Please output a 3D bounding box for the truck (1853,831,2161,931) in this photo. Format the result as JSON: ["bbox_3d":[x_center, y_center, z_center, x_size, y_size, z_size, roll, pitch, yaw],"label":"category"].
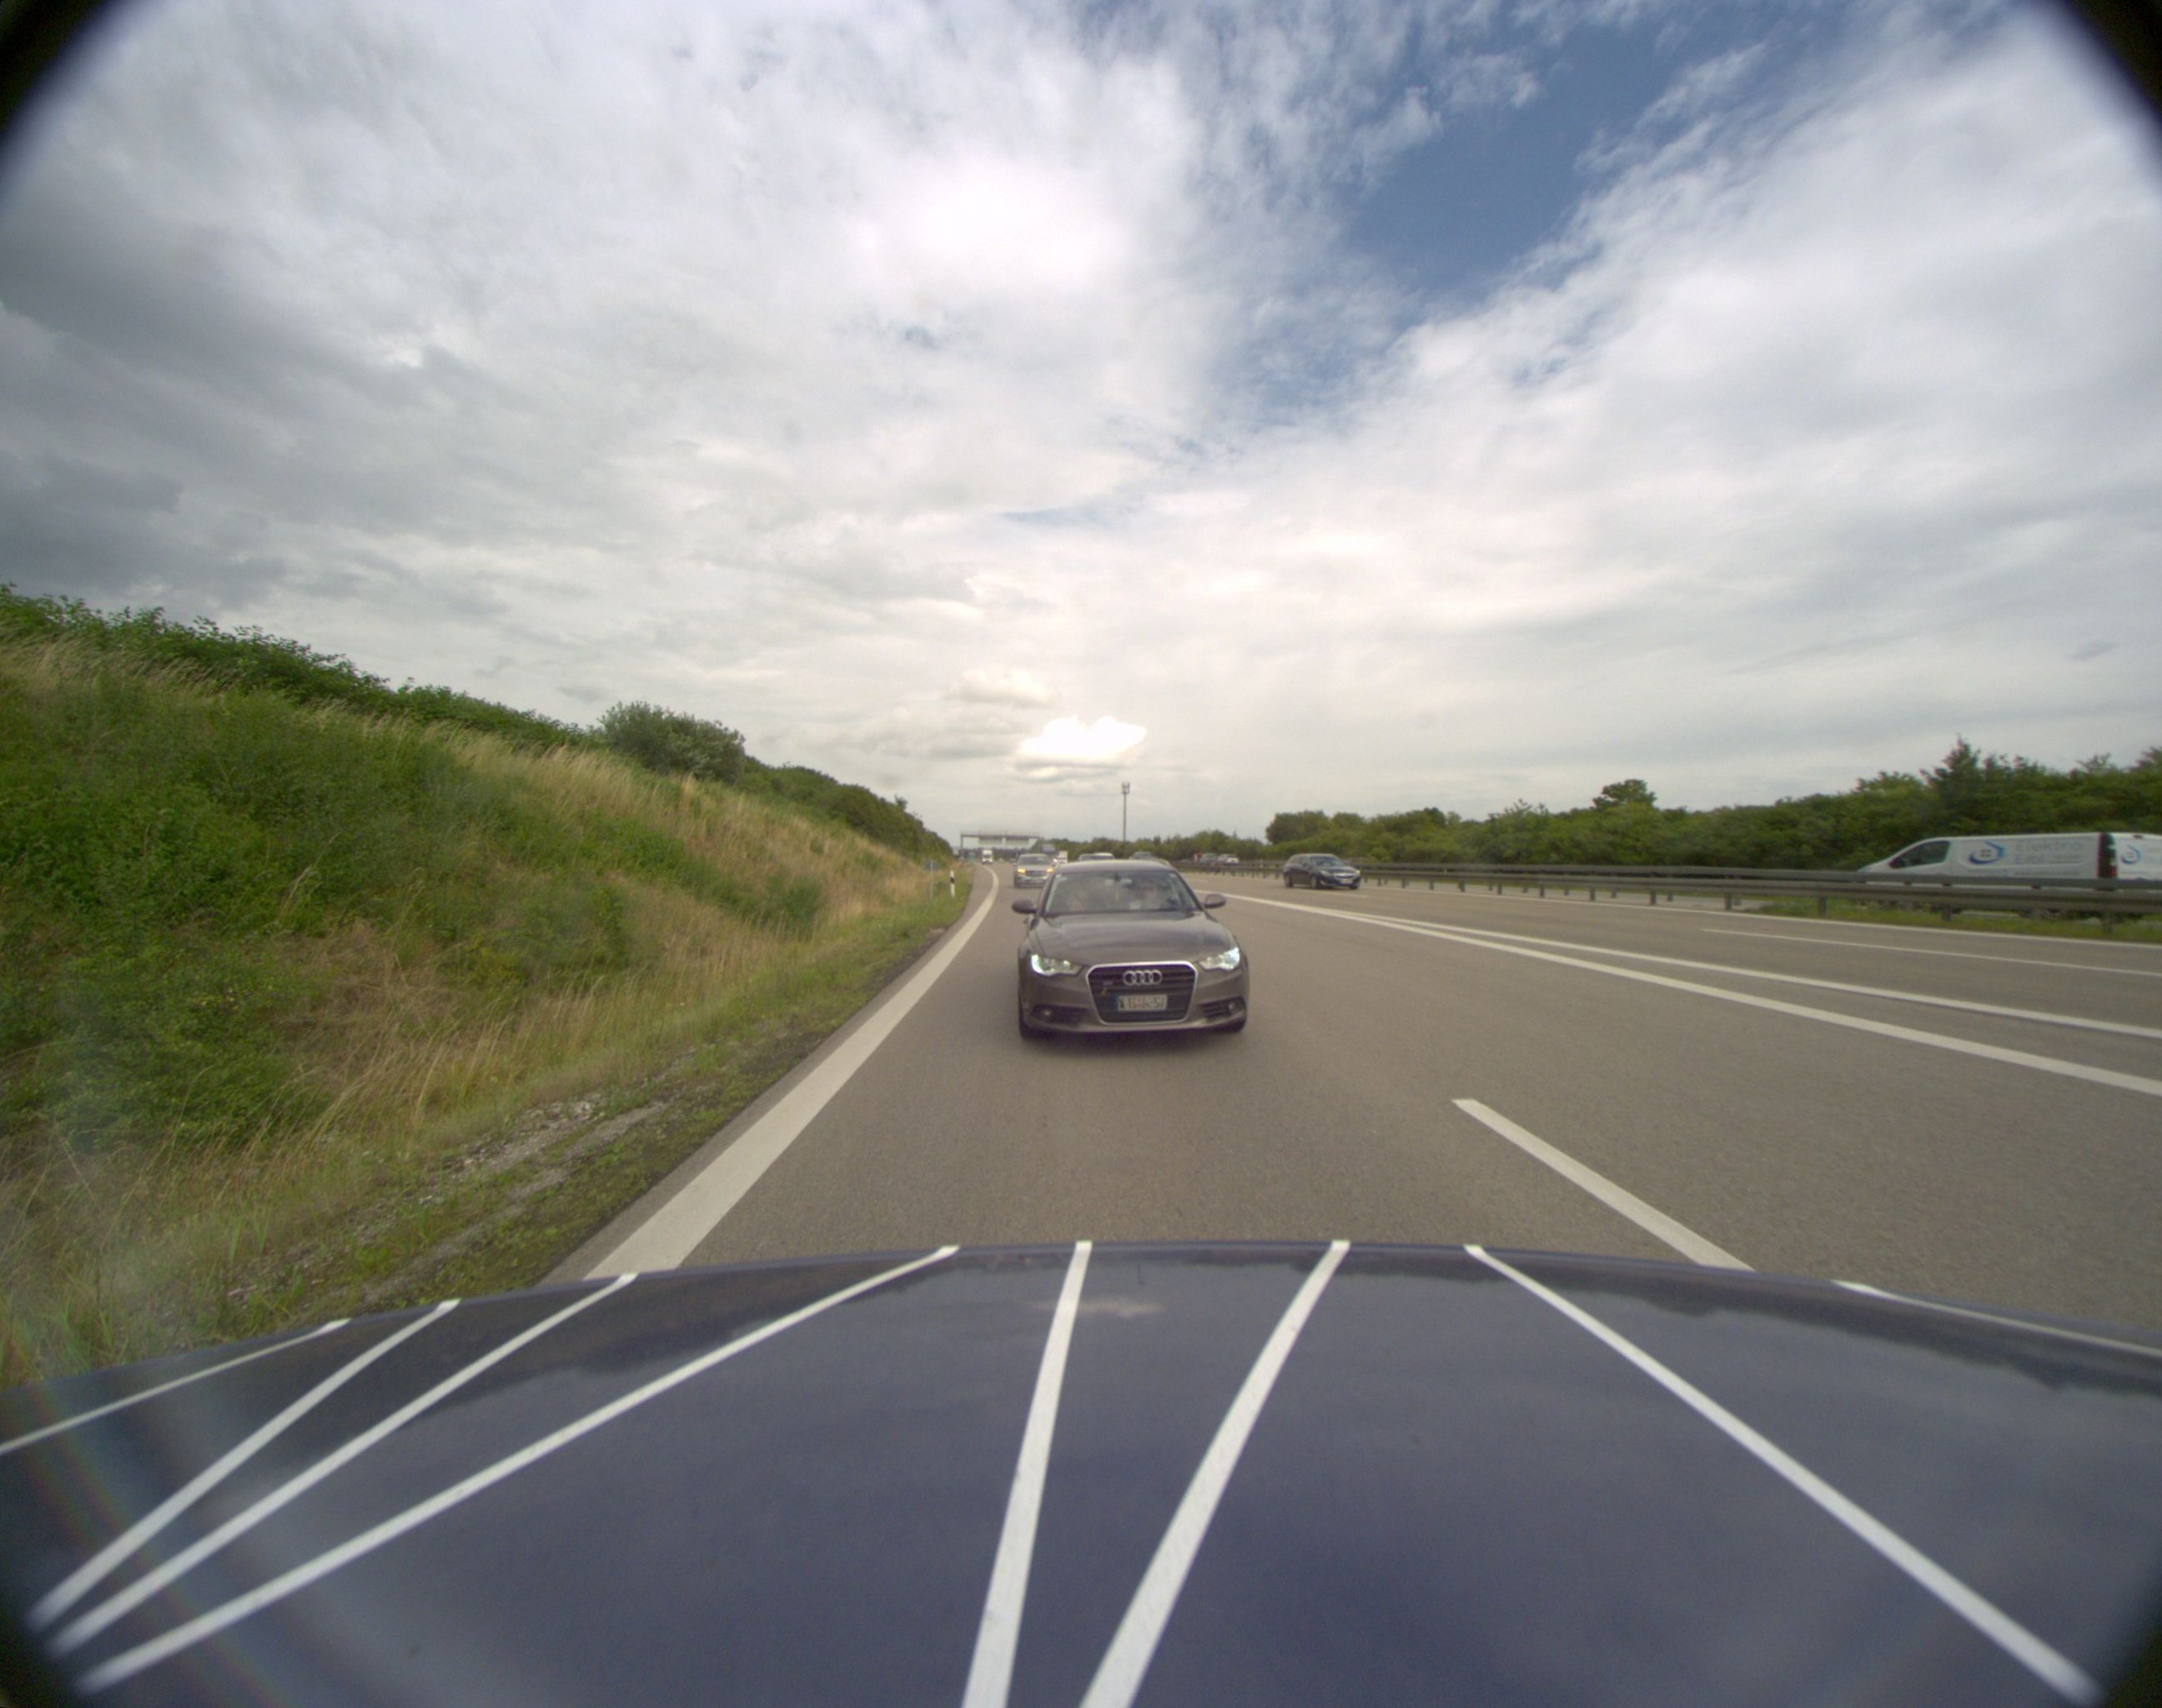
[{"bbox_3d":[21.435,0.532,17.628,2.000,2.002,4.716,-1,0,-7],"label":"truck"}]

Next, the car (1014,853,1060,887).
[{"bbox_3d":[-2.206,0.734,37.123,2.000,1.567,3.998,-1,0,-6],"label":"car"}]

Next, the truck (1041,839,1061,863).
[{"bbox_3d":[-4.666,-0.396,117.017,2.475,3.350,7.921,-1,-1,-6],"label":"truck"}]

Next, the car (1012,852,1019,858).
[{"bbox_3d":[-21.481,0.314,248.005,1.999,2.002,3.999,0,0,-2],"label":"car"}]

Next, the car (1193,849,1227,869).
[{"bbox_3d":[15.616,0.539,92.124,2.169,2.317,6.672,-1,0,-7],"label":"car"}]

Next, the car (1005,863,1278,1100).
[{"bbox_3d":[0.276,0.884,7.192,1.849,1.489,4.027,-2,0,-4],"label":"car"}]

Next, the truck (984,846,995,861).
[{"bbox_3d":[-20.322,-0.110,168.548,2.450,3.216,7.186,-1,0,-7],"label":"truck"}]

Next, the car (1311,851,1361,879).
[{"bbox_3d":[19.744,0.784,59.054,2.000,2.002,3.996,-2,1,-9],"label":"car"}]

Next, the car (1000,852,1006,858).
[{"bbox_3d":[-26.027,0.419,253.496,1.999,2.002,3.998,-2,1,-3],"label":"car"}]

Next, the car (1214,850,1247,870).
[{"bbox_3d":[16.637,0.640,84.780,2.169,2.120,4.871,-1,0,-8],"label":"car"}]

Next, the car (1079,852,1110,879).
[{"bbox_3d":[0.906,0.699,47.884,1.838,1.557,4.498,-1,0,2],"label":"car"}]

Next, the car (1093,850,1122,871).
[{"bbox_3d":[2.312,0.544,67.204,1.882,1.741,4.484,-1,0,-6],"label":"car"}]

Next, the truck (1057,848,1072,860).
[{"bbox_3d":[-5.018,-0.161,233.260,3.168,3.508,9.970,-2,1,-9],"label":"truck"}]

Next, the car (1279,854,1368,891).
[{"bbox_3d":[10.017,0.719,31.774,1.727,1.415,4.794,0,0,-6],"label":"car"}]

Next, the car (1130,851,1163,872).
[{"bbox_3d":[5.891,0.633,69.103,2.000,1.775,5.408,-1,0,-6],"label":"car"}]

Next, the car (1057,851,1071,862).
[{"bbox_3d":[-2.908,0.424,130.127,2.000,1.799,3.998,0,0,-6],"label":"car"}]

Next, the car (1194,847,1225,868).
[{"bbox_3d":[12.965,0.329,76.738,2.000,2.002,3.997,-1,0,-8],"label":"car"}]
